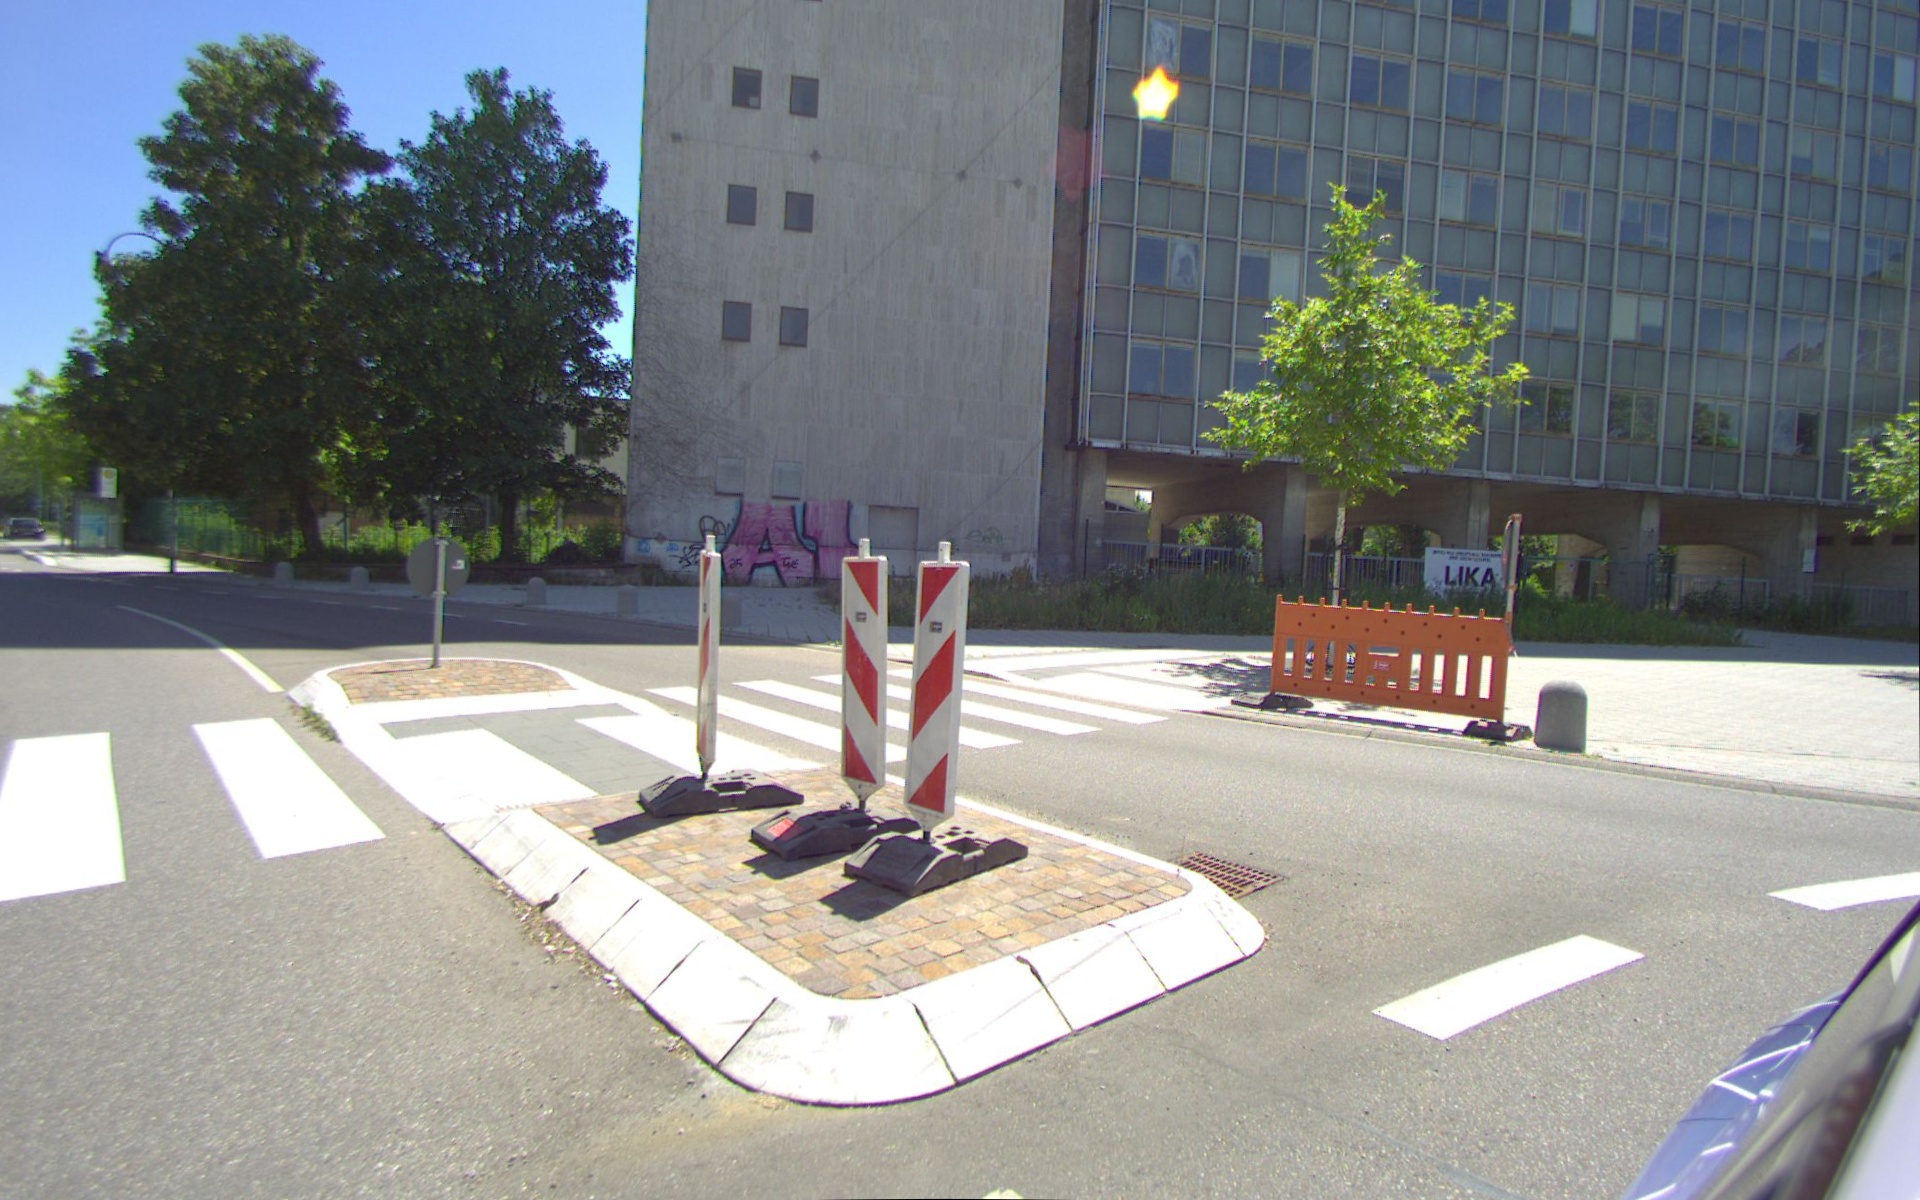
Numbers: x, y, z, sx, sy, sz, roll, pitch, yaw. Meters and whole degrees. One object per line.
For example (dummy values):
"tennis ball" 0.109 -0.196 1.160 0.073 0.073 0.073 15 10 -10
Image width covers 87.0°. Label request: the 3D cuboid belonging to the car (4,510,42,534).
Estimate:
"car" -61.396 -5.137 66.293 1.716 1.453 3.703 -1 5 -44
